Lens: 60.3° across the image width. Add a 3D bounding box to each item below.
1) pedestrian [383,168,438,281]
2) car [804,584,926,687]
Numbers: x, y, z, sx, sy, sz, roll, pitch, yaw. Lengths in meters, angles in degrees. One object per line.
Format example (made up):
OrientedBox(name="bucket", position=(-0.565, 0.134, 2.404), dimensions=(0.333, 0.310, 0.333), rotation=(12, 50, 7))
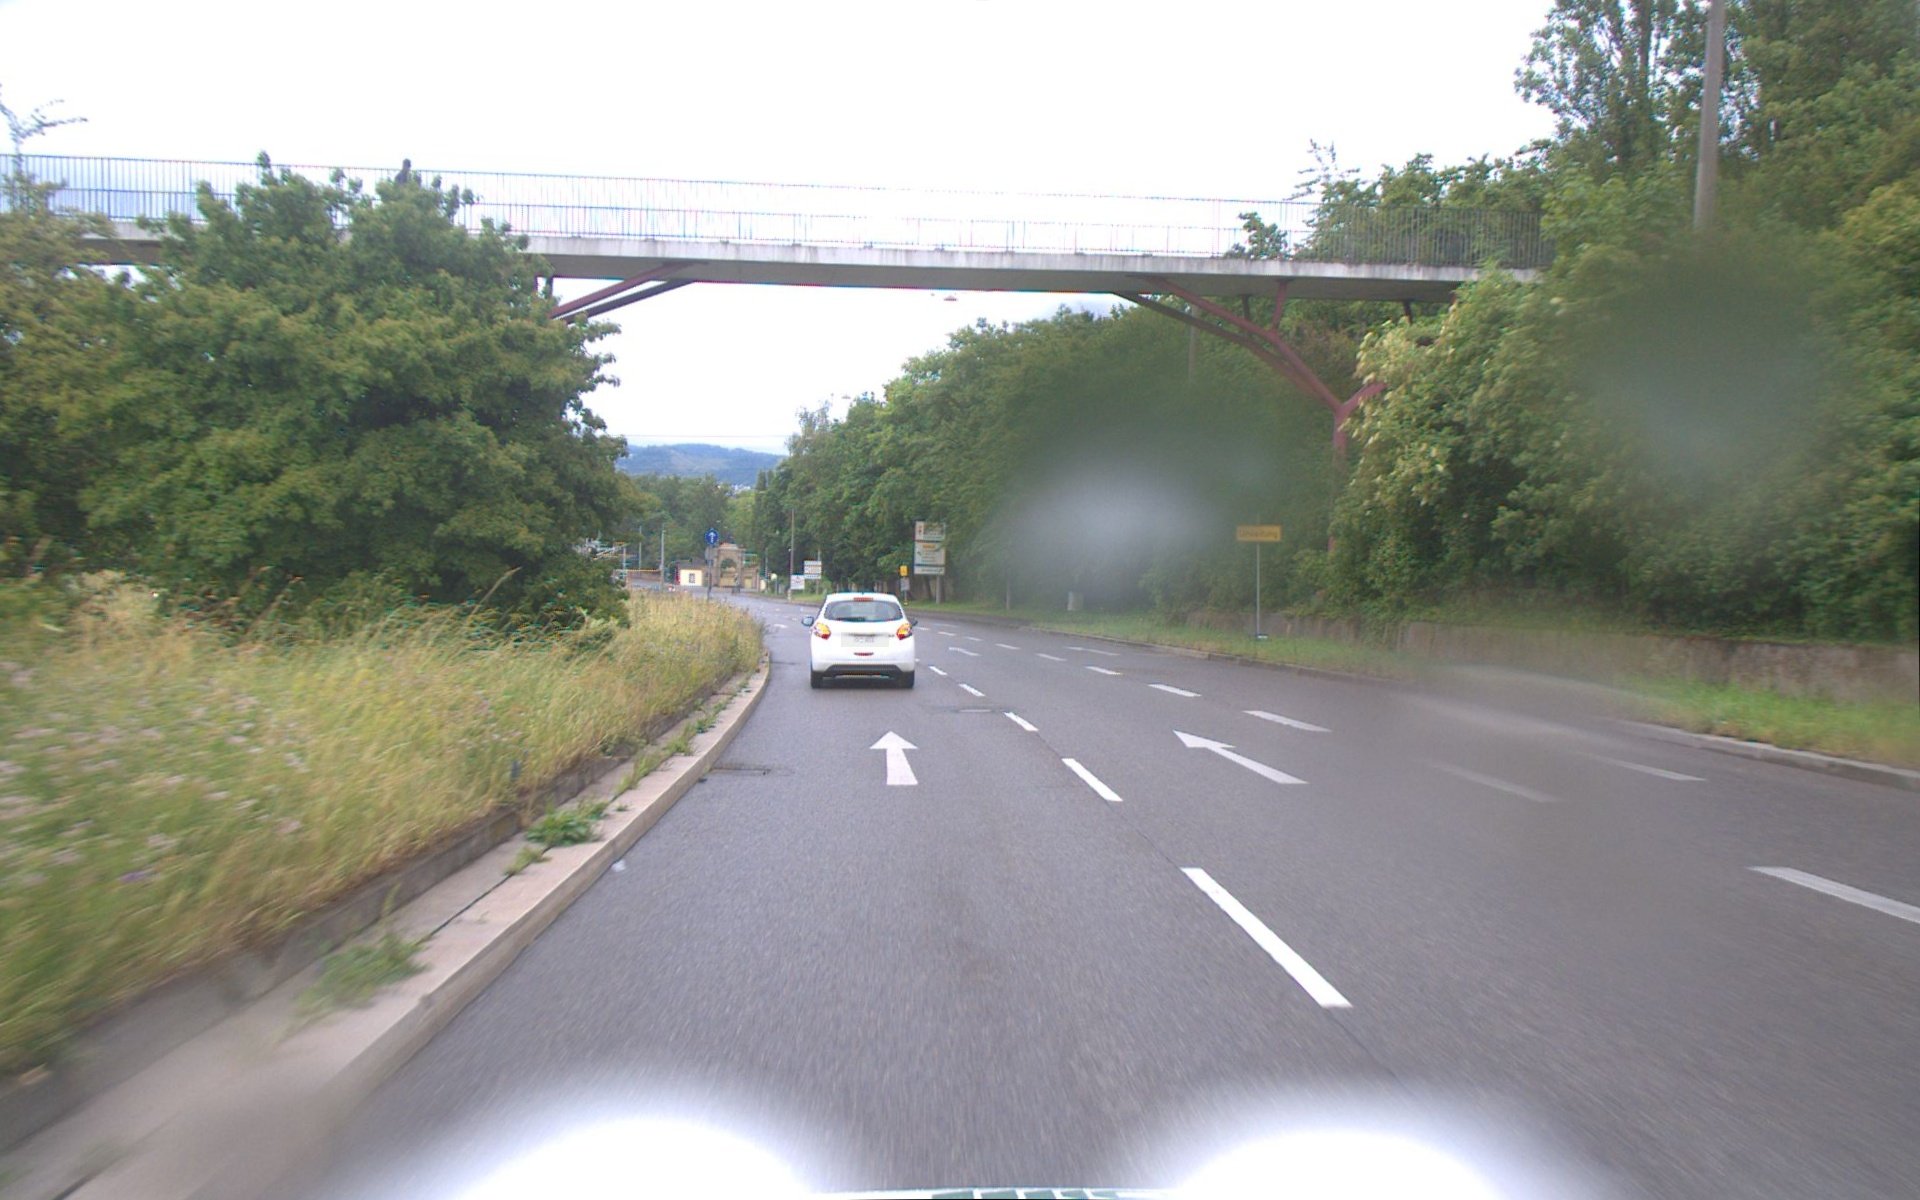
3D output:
OrientedBox(name="pedestrian", position=(-11.413, -7.788, 34.365), dimensions=(0.897, 2.181, 0.731), rotation=(-1, 0, -7))
OrientedBox(name="car", position=(-1.633, 0.527, 27.276), dimensions=(1.832, 1.537, 3.895), rotation=(0, 1, -6))
